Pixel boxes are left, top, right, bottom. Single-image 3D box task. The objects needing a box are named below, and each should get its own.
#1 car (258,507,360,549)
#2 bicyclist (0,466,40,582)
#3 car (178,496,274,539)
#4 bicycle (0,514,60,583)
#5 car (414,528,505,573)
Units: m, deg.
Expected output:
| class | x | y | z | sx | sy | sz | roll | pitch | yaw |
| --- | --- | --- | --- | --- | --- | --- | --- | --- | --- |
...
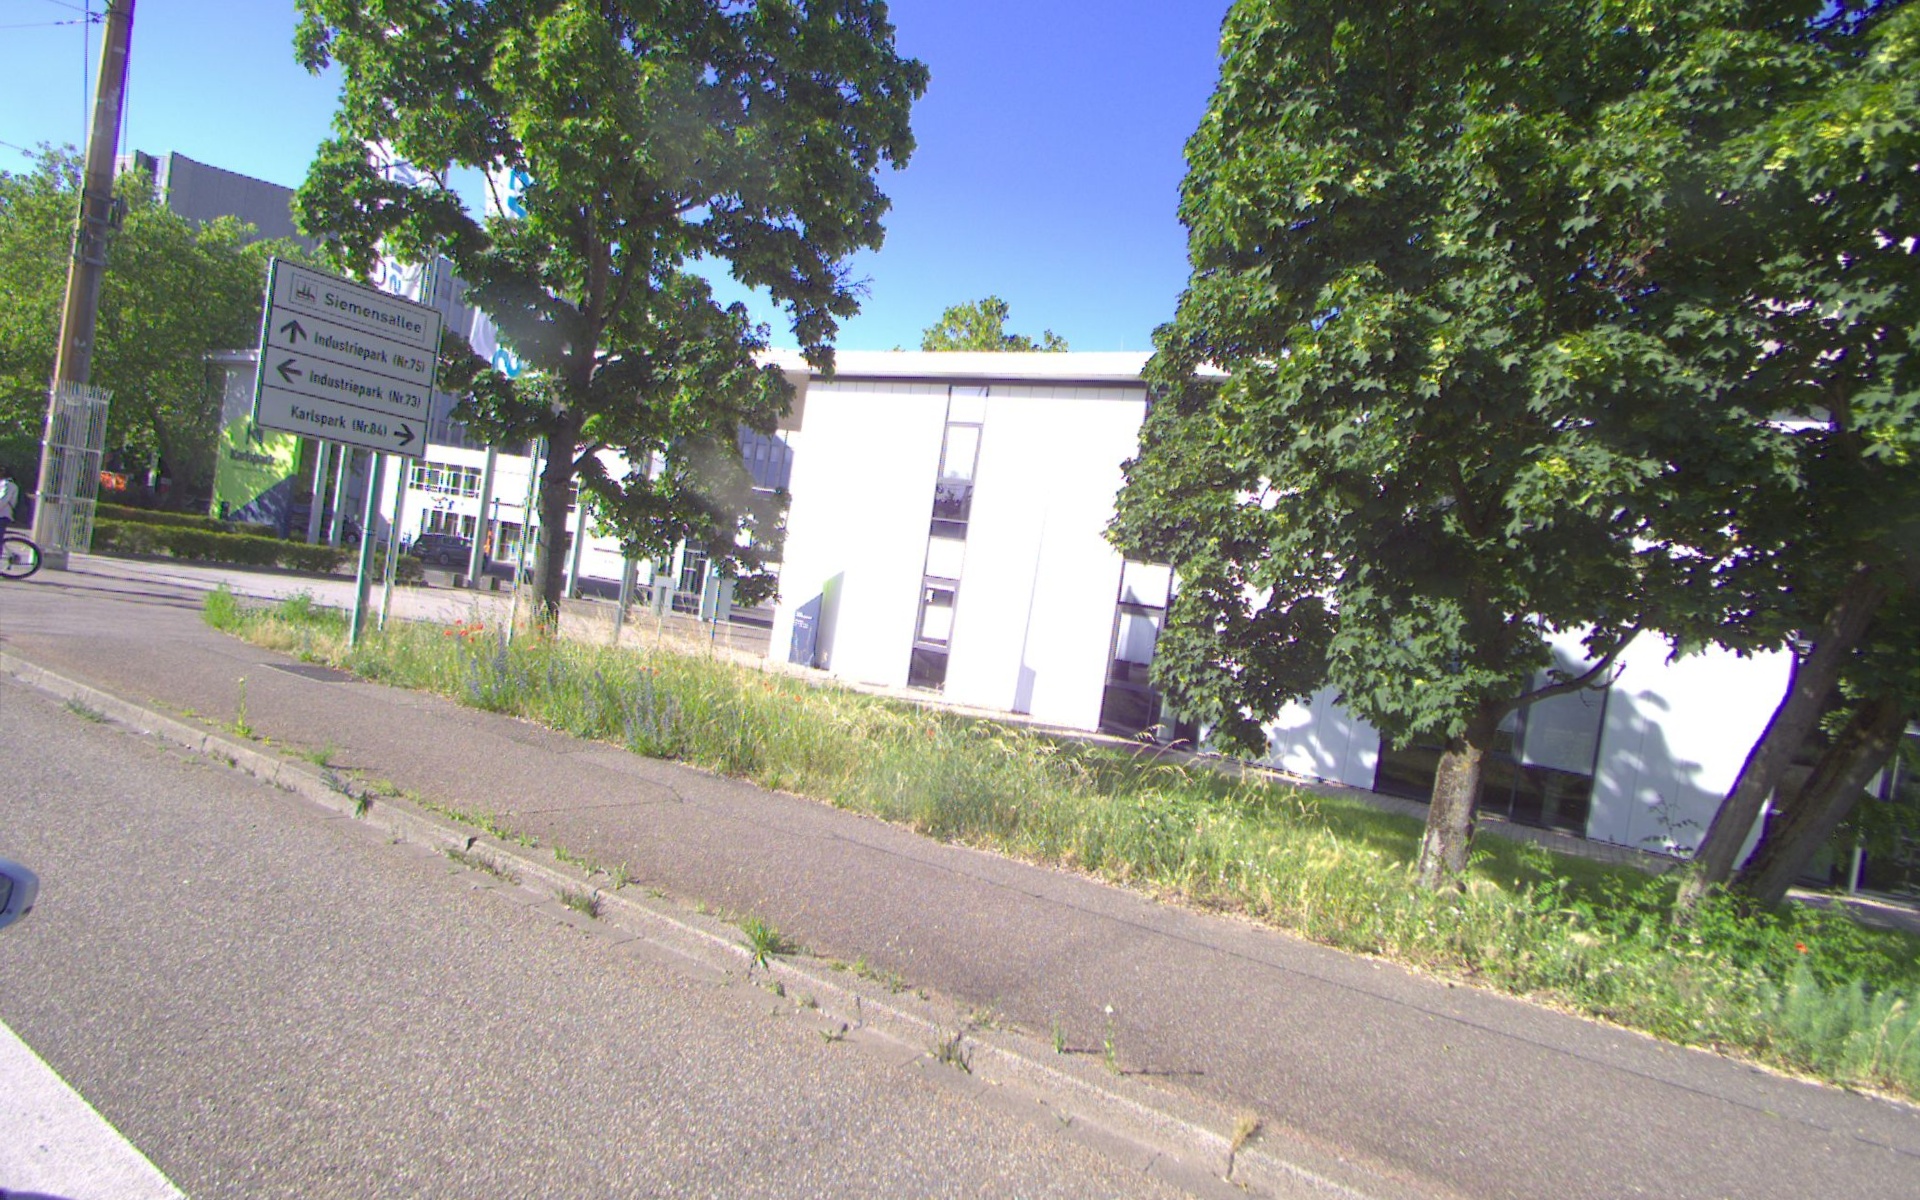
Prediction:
| class | x | y | z | sx | sy | sz | roll | pitch | yaw |
| --- | --- | --- | --- | --- | --- | --- | --- | --- | --- |
| car | -36.813 | -4.034 | 57.003 | 1.841 | 1.649 | 4.553 | 7 | -1 | 19 |
| bicyclist | -15.166 | -1.224 | 15.784 | 0.754 | 1.767 | 0.908 | 7 | 1 | 42 |
| car | -43.351 | -4.867 | 59.516 | 1.963 | 1.778 | 4.002 | 8 | -1 | 19 |
| bicycle | -15.350 | -0.869 | 15.637 | 0.754 | 1.010 | 1.915 | 7 | 1 | 42 |
| car | -26.897 | -2.635 | 54.150 | 1.865 | 1.741 | 4.000 | 8 | -1 | 22 |
